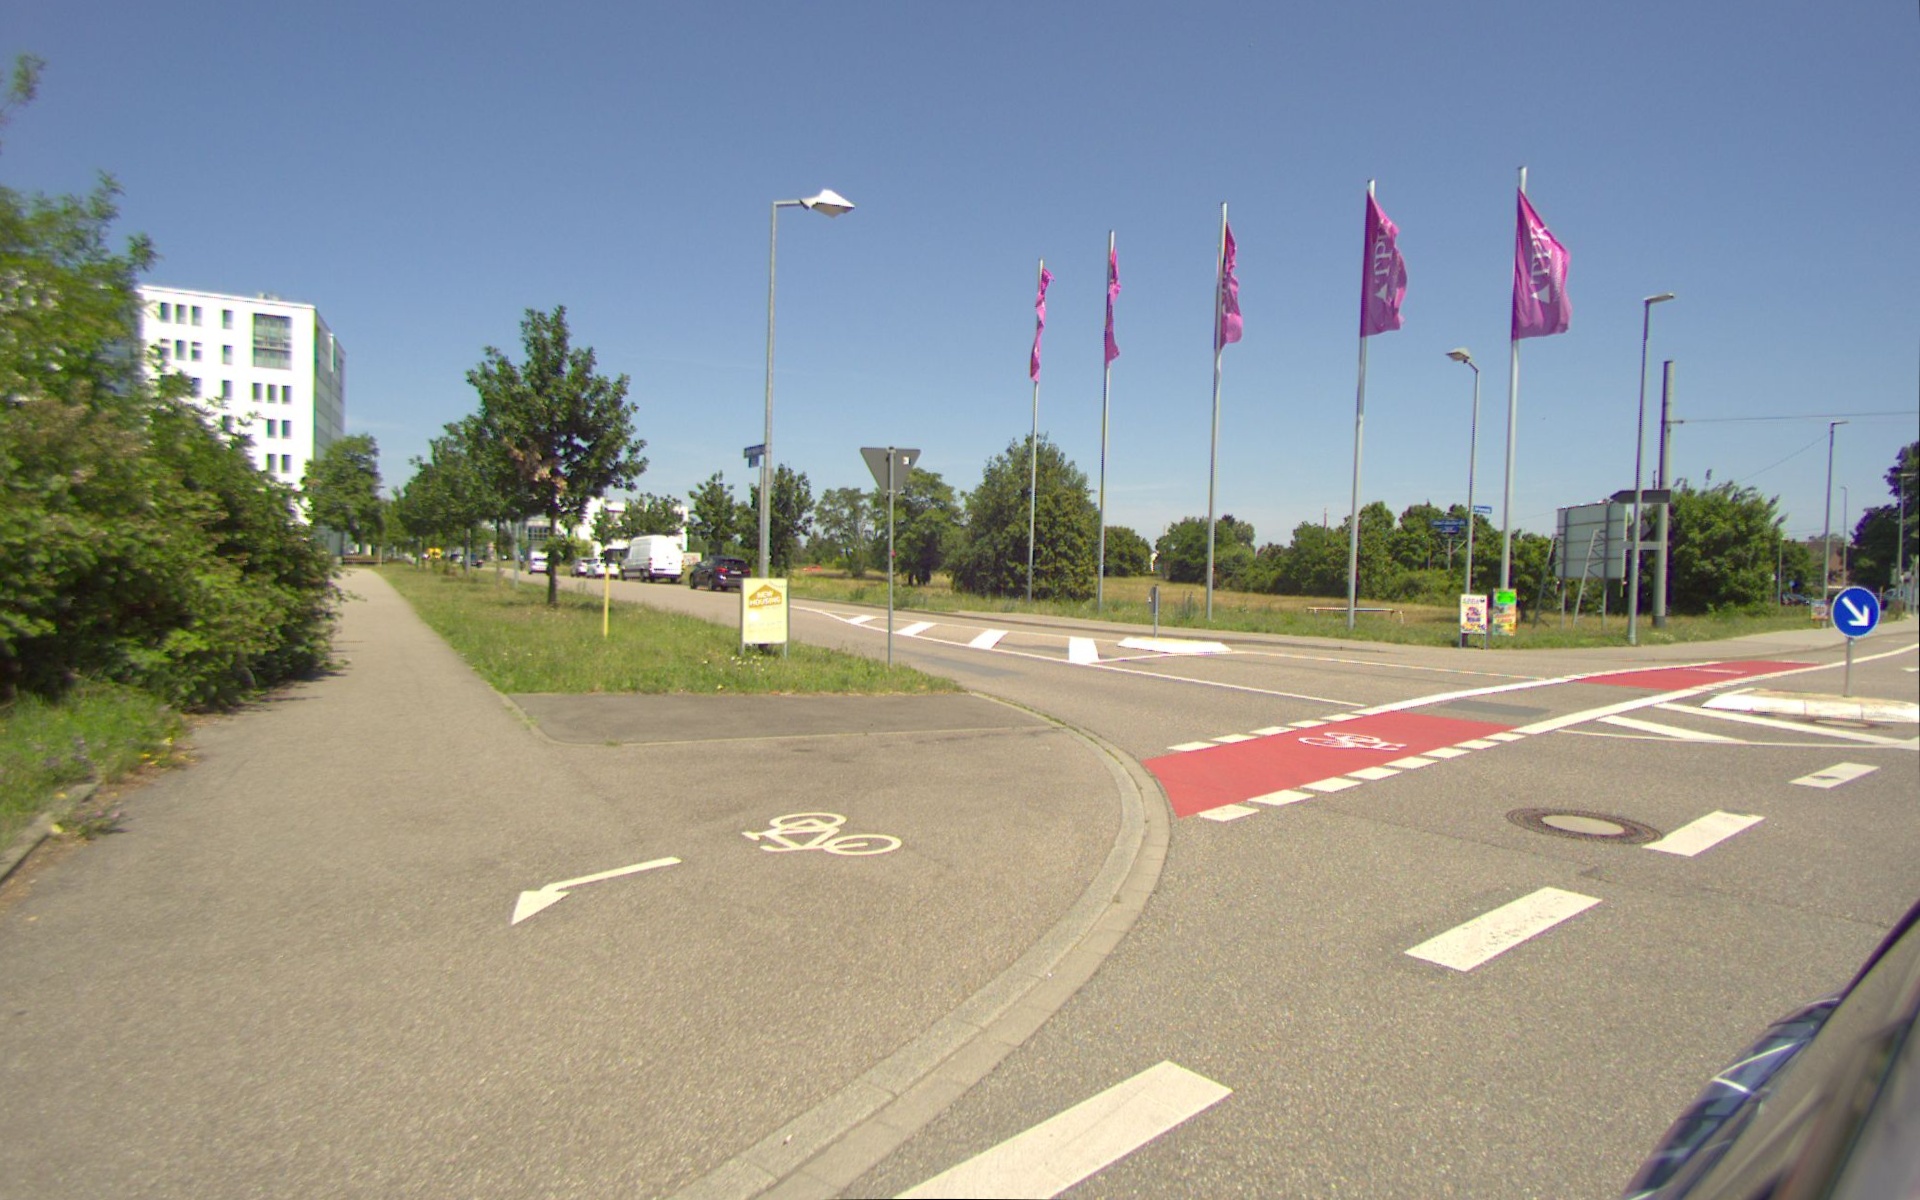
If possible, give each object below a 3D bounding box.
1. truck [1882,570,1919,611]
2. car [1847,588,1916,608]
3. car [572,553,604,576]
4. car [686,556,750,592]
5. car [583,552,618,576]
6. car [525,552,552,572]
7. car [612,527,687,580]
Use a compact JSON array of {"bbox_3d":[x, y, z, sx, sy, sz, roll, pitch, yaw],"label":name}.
[{"bbox_3d":[87.982,-0.796,90.738,2.535,3.576,7.727,4,1,-10],"label":"truck"},{"bbox_3d":[84.057,-0.200,92.408,1.836,1.595,4.420,2,1,-10],"label":"car"},{"bbox_3d":[-27.411,-2.584,74.533,1.671,1.552,3.632,1,0,-29],"label":"car"},{"bbox_3d":[-11.202,-1.171,46.730,1.673,1.552,3.628,1,0,-35],"label":"car"},{"bbox_3d":[-24.798,-2.461,69.790,1.671,1.552,3.632,1,0,-29],"label":"car"},{"bbox_3d":[-36.299,-3.255,87.148,1.672,1.552,3.631,1,0,-31],"label":"car"},{"bbox_3d":[-17.924,-2.590,58.210,2.615,2.837,6.861,0,2,-30],"label":"car"}]
